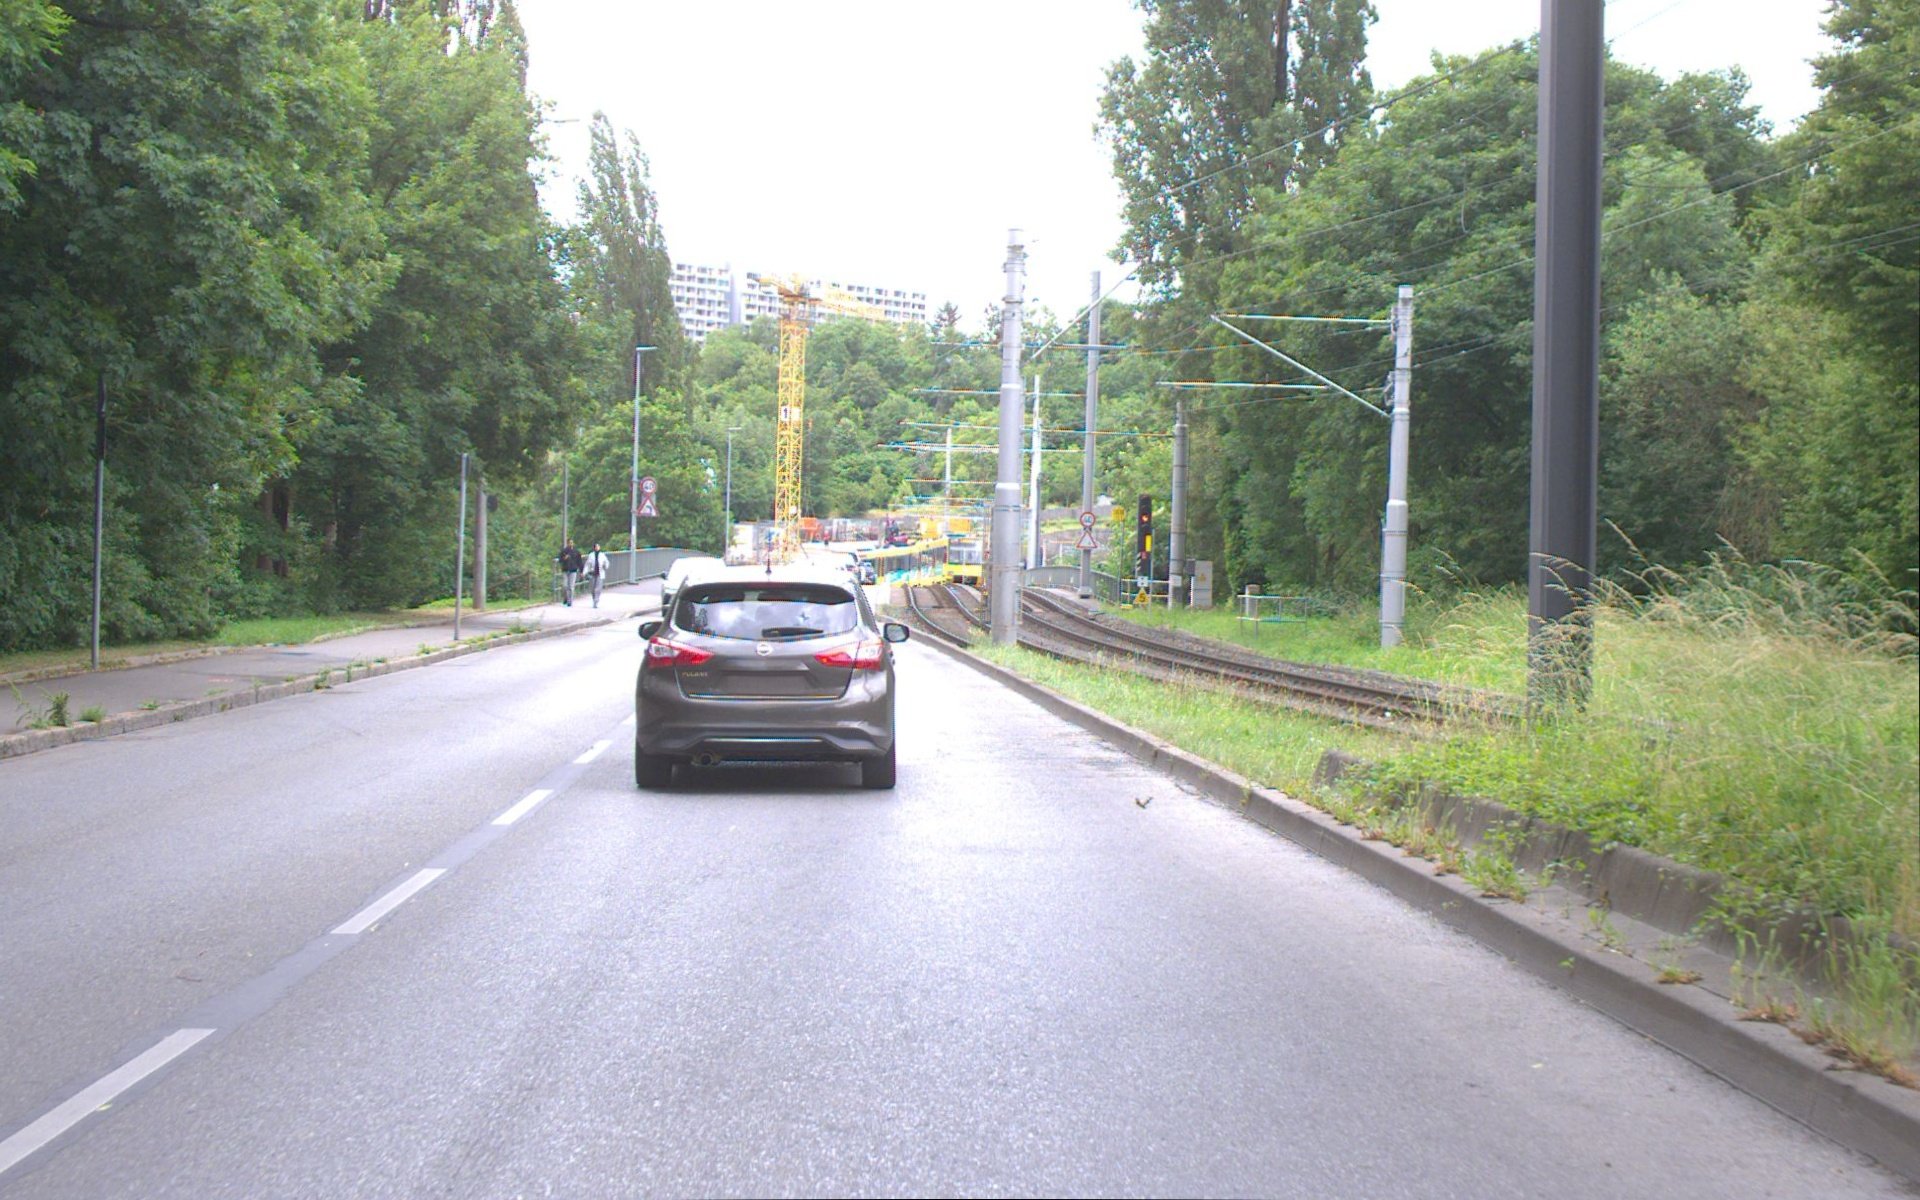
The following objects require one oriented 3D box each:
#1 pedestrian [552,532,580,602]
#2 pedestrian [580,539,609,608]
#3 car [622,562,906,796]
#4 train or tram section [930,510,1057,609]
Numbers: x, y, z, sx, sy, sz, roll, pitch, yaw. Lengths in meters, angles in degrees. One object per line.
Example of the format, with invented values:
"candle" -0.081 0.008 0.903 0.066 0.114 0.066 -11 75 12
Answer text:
"pedestrian" -10.317 -0.862 90.050 0.587 1.797 0.822 3 0 -2
"pedestrian" -9.621 -0.704 90.552 0.551 1.759 0.858 5 0 -3
"car" -1.433 0.496 24.465 1.829 1.505 4.001 1 1 -4
"train or tram section" 1.826 -2.301 207.821 3.027 5.165 23.060 3 -2 -11
